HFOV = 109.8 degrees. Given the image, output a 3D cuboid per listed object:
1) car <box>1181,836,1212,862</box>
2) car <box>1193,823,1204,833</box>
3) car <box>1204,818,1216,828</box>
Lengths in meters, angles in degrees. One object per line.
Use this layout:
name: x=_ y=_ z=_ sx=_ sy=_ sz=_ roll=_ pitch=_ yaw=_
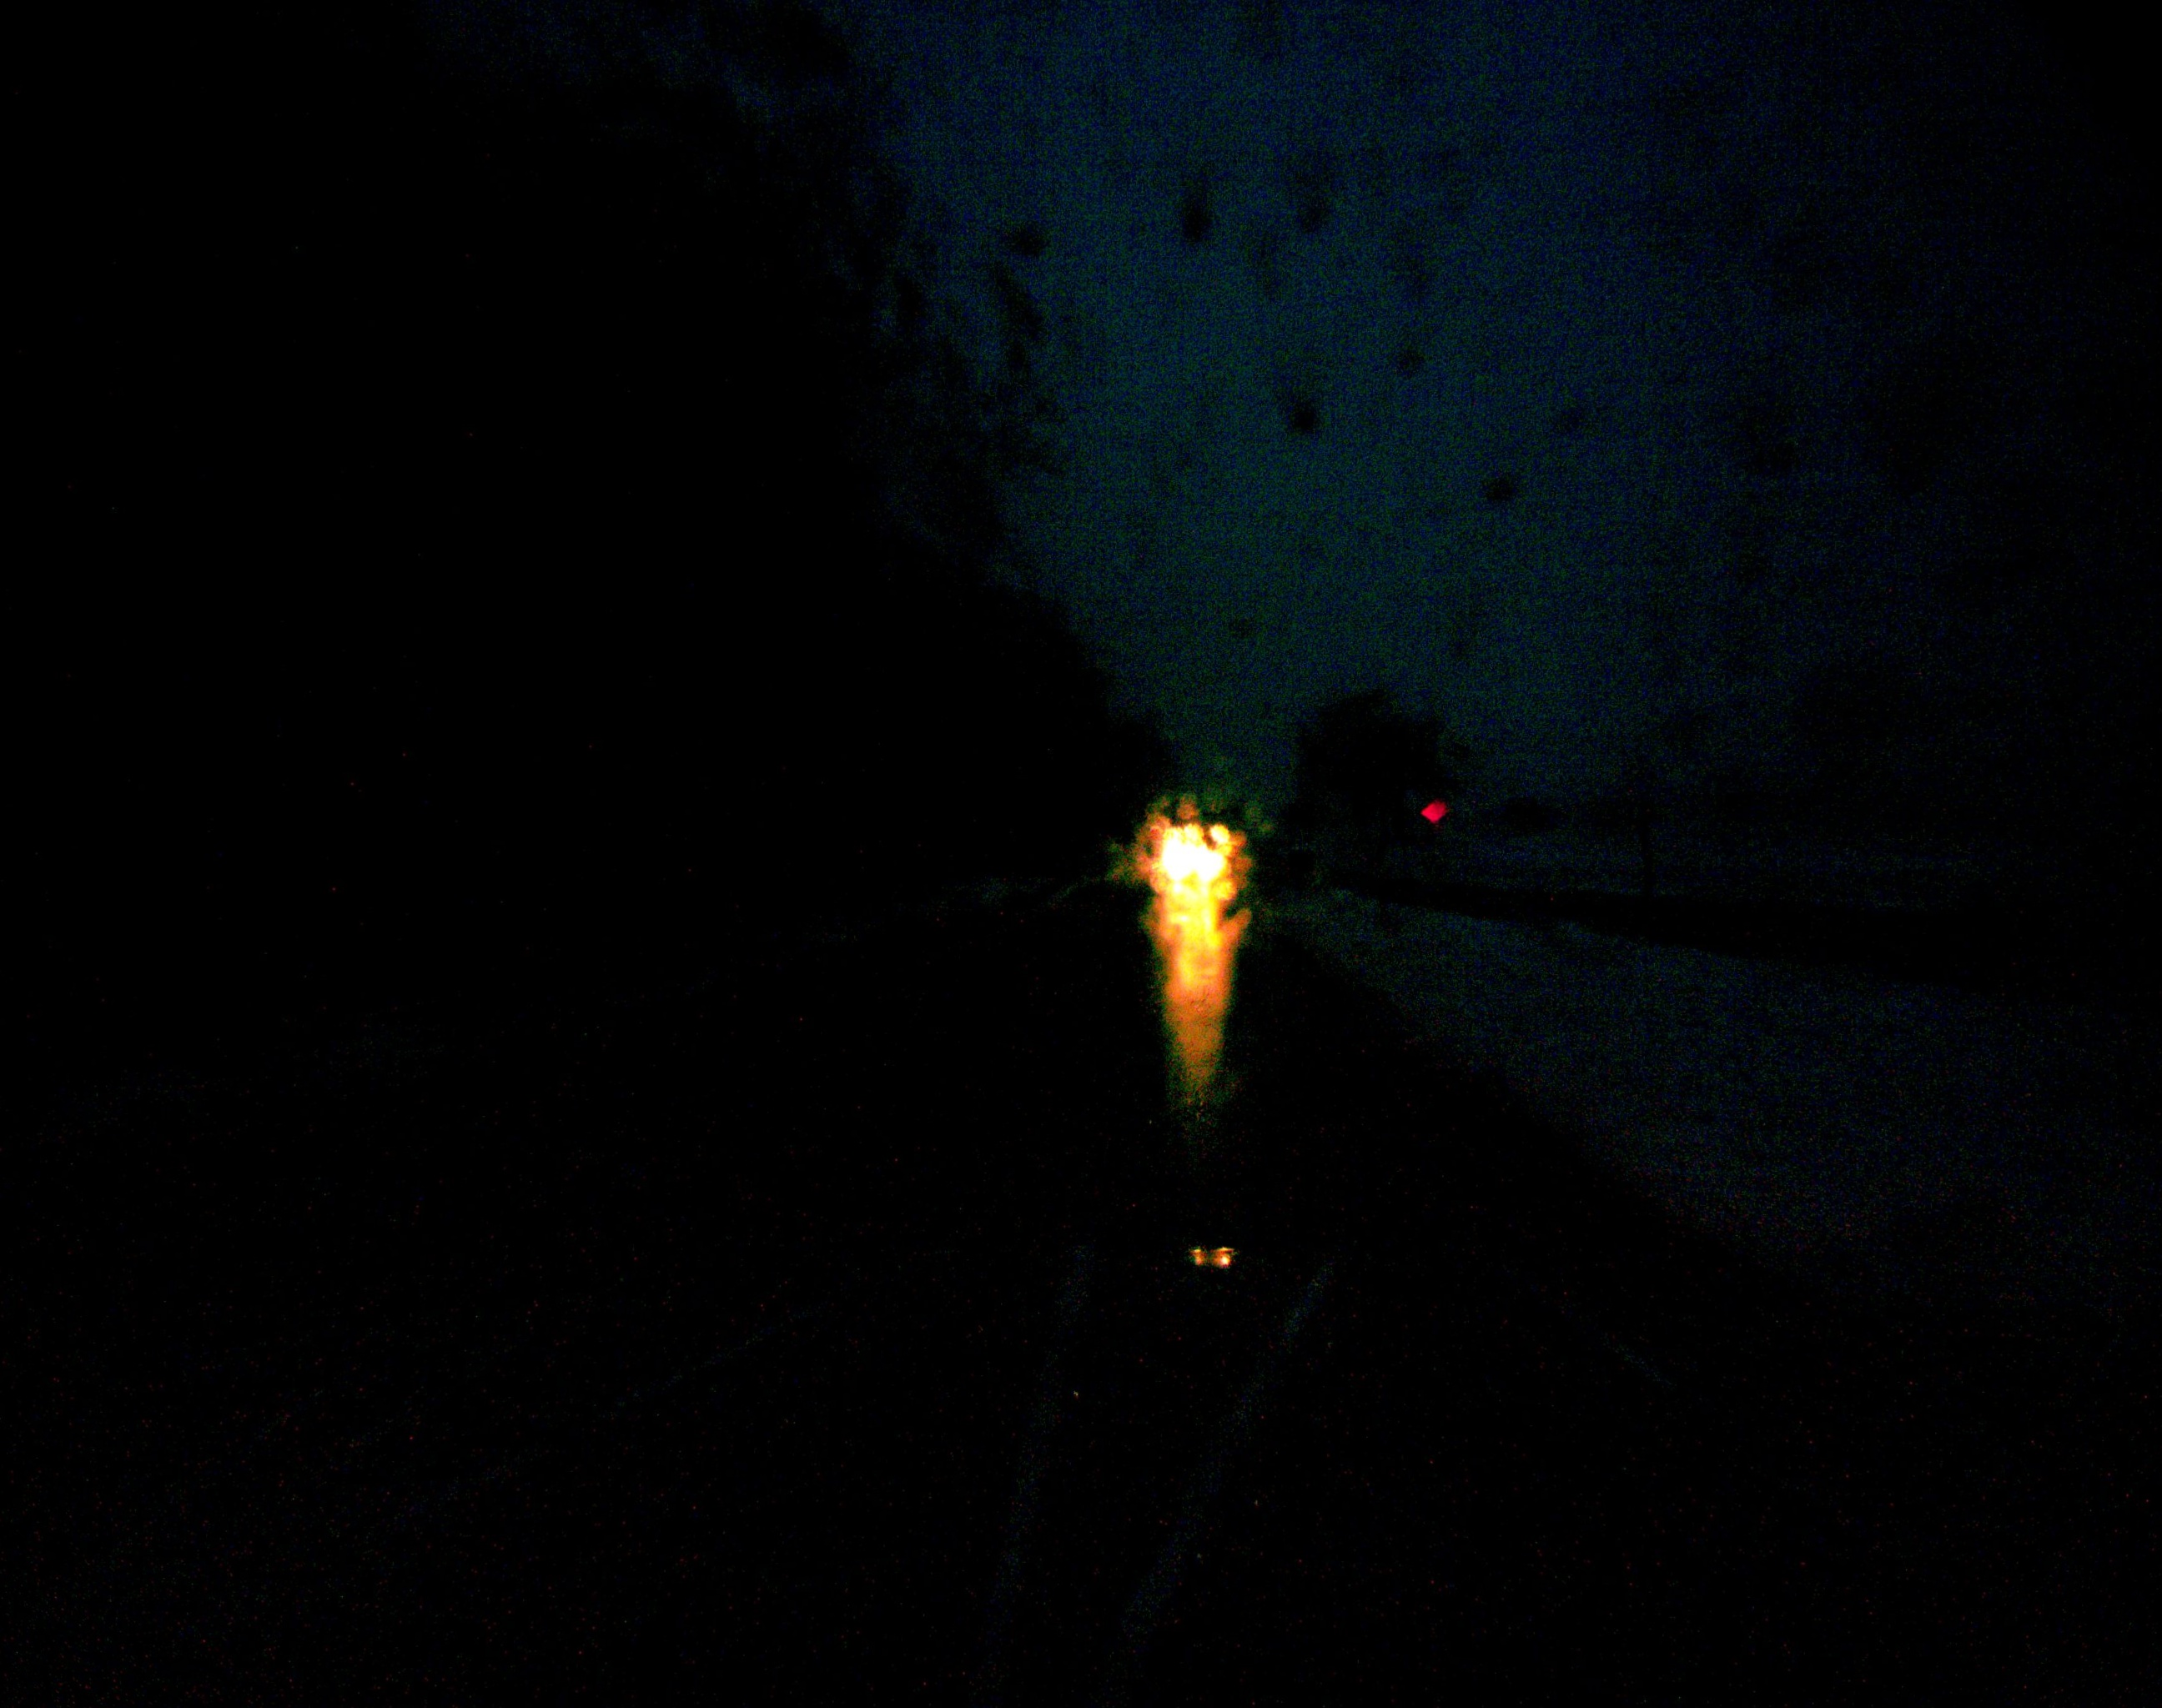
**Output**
car: x=7.036 y=-0.316 z=46.357 sx=1.724 sy=1.426 sz=3.678 roll=-2 pitch=1 yaw=9
car: x=22.017 y=-4.928 z=142.415 sx=1.997 sy=1.797 sz=4.001 roll=-2 pitch=2 yaw=9
car: x=24.295 y=-5.892 z=143.232 sx=1.997 sy=1.797 sz=4.001 roll=-2 pitch=2 yaw=9
